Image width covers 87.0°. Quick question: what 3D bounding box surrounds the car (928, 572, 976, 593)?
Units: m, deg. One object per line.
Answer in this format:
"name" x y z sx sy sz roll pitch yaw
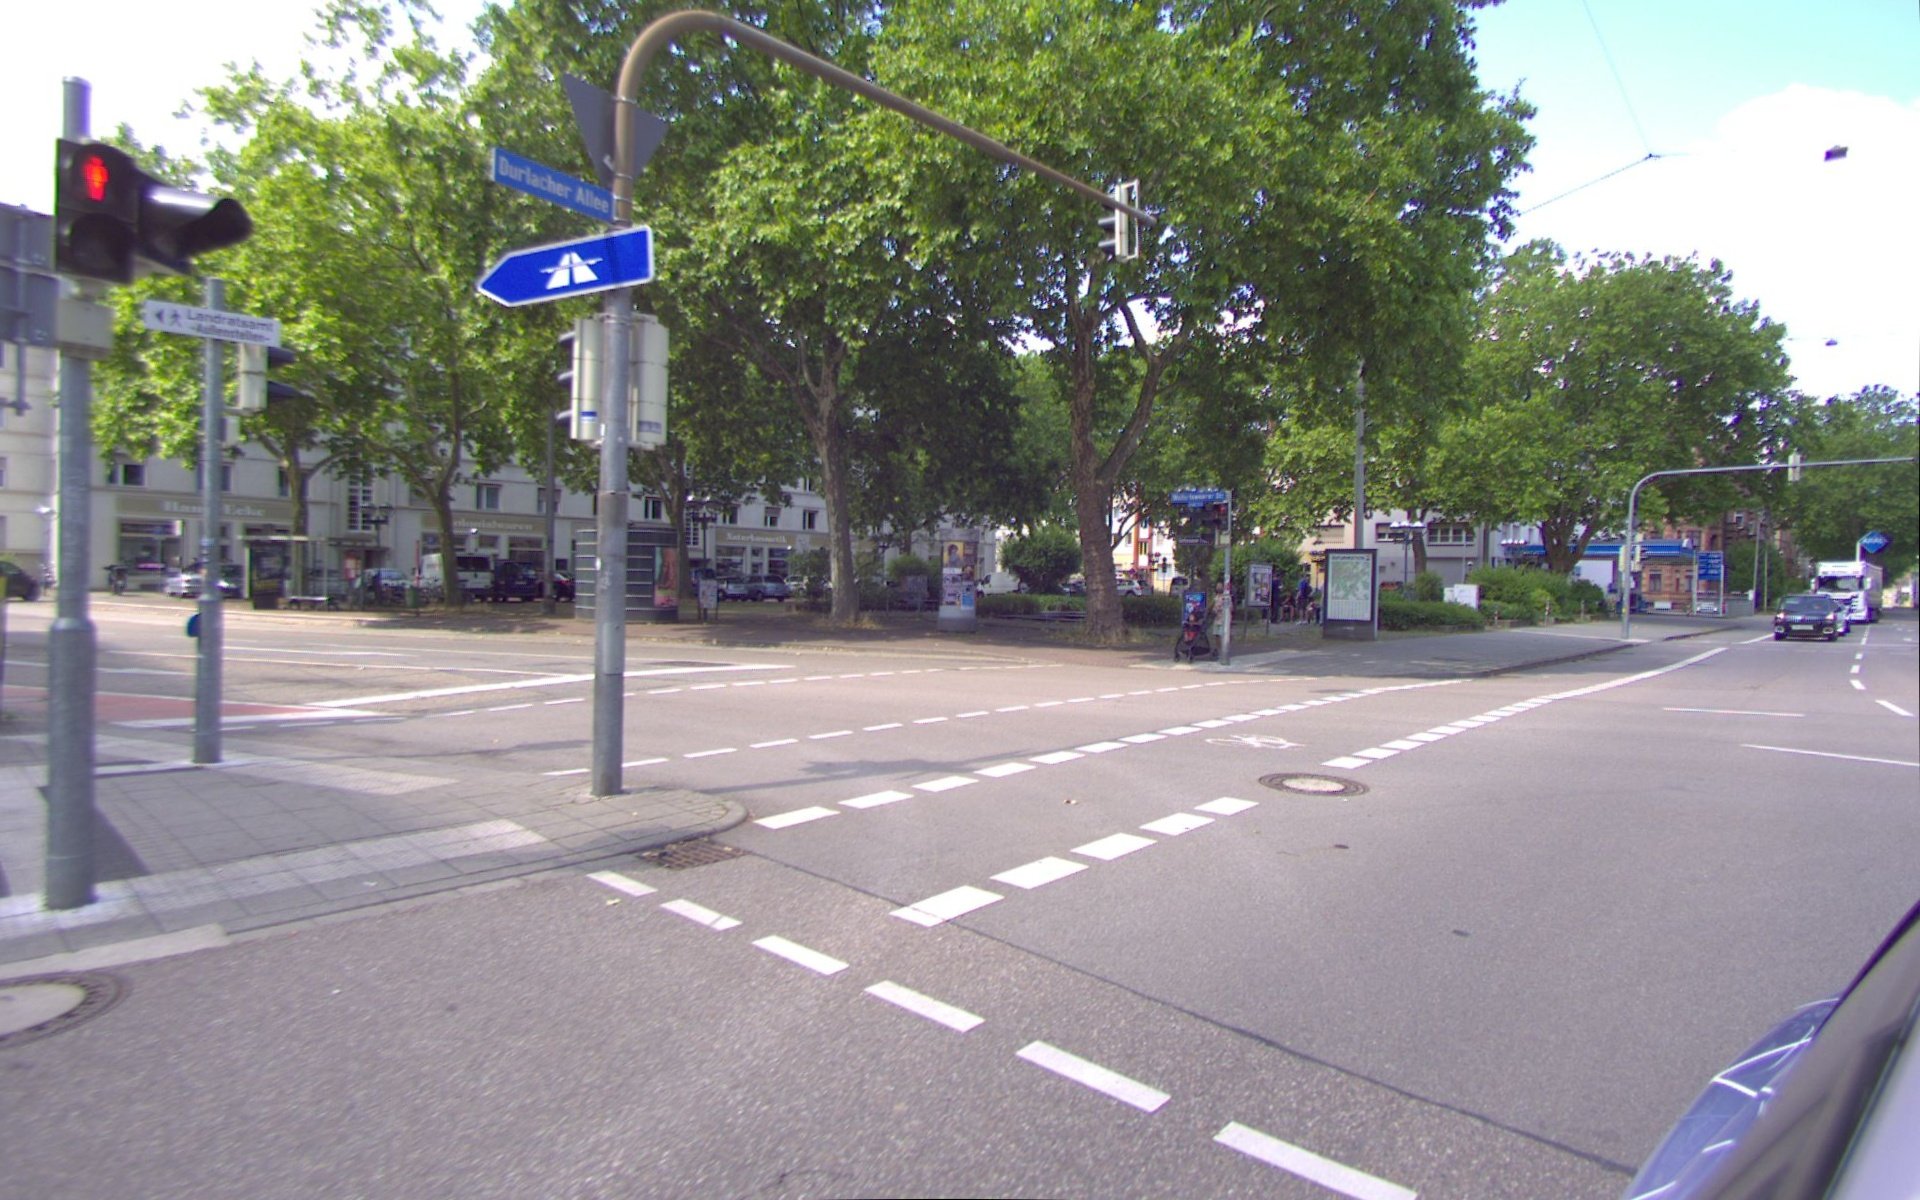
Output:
"car" -0.693 -1.524 85.332 1.708 1.718 3.989 -1 2 -45

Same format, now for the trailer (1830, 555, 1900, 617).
"trailer" 64.334 -1.002 71.836 11.460 4.128 2.910 -1 1 -45

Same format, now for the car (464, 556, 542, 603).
"car" -21.385 -0.947 47.307 3.987 2.102 1.968 1 1 44

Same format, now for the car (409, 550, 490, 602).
"car" -22.816 -1.086 45.178 4.244 2.210 1.968 1 1 44

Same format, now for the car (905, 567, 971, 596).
"car" -1.525 -1.258 69.629 2.070 1.929 4.479 -1 2 -45

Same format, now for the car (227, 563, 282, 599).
"car" -34.541 -0.933 49.510 3.052 1.687 1.449 1 1 39

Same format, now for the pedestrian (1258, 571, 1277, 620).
"pedestrian" 11.260 -0.183 37.048 0.598 1.772 0.694 1 1 20

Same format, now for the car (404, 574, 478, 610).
"car" -21.081 -0.335 41.082 3.047 1.406 1.452 1 1 35

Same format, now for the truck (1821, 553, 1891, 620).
"truck" 59.046 -0.924 66.666 6.481 4.201 2.911 -1 1 -44

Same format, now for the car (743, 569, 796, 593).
"car" -13.470 -1.328 71.408 1.716 1.657 3.989 -1 2 -45

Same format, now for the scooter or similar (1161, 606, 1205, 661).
"scooter or similar" 4.404 0.654 19.992 0.694 1.069 0.492 0 1 -24

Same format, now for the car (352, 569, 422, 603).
"car" -24.661 -0.629 43.517 3.217 1.406 1.451 1 1 37

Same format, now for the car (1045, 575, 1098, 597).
"car" 8.800 -1.096 80.168 1.725 1.682 3.989 -1 2 -45

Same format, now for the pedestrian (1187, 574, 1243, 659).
"pedestrian" 5.121 0.316 20.304 0.903 1.666 0.571 1 1 -24

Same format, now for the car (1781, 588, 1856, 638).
"car" 32.576 0.429 38.359 1.849 1.748 4.348 2 2 44

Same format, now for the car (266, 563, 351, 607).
"car" -27.173 -0.648 42.147 4.521 1.711 1.883 1 1 42

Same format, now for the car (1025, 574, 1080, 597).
"car" 7.105 -1.165 78.196 1.825 1.701 3.989 -1 2 -45

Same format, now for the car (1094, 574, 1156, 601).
"car" 11.658 -0.907 71.667 1.839 1.822 3.989 -1 1 -45

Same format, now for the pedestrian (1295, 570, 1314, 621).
"pedestrian" 12.209 -0.158 35.866 0.598 1.772 0.694 1 1 19

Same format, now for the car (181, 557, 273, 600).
"car" -28.766 -0.851 39.659 4.521 1.620 2.004 1 1 42

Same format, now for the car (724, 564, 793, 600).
"car" -11.692 -1.049 58.552 3.984 2.039 1.970 1 1 42

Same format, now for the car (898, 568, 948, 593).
"car" -3.072 -1.615 83.388 1.968 1.988 3.989 -1 1 -45

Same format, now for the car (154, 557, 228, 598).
"car" -36.251 -1.080 47.650 4.701 1.818 1.884 1 1 41

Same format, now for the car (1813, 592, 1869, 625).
"car" 42.954 0.394 49.307 1.849 1.464 3.910 2 2 44

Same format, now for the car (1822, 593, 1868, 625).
"car" 46.985 0.440 53.682 1.681 1.582 3.694 2 2 43

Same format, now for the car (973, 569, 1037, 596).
"car" 3.294 -1.332 74.457 2.070 1.929 4.479 -1 2 -45

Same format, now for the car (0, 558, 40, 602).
"car" -34.923 -0.746 36.370 1.661 1.557 3.476 1 2 -22

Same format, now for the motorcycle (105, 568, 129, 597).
"motorcycle" -37.566 -0.804 45.090 1.877 1.259 0.563 1 1 41

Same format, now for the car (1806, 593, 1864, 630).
"car" 38.288 0.473 44.259 1.729 1.484 4.259 2 2 43

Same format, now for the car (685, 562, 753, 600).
"car" -13.604 -1.090 57.072 3.989 2.039 1.968 2 1 45

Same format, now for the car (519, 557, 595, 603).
"car" -19.470 -0.969 48.854 3.987 2.102 1.968 1 1 44
